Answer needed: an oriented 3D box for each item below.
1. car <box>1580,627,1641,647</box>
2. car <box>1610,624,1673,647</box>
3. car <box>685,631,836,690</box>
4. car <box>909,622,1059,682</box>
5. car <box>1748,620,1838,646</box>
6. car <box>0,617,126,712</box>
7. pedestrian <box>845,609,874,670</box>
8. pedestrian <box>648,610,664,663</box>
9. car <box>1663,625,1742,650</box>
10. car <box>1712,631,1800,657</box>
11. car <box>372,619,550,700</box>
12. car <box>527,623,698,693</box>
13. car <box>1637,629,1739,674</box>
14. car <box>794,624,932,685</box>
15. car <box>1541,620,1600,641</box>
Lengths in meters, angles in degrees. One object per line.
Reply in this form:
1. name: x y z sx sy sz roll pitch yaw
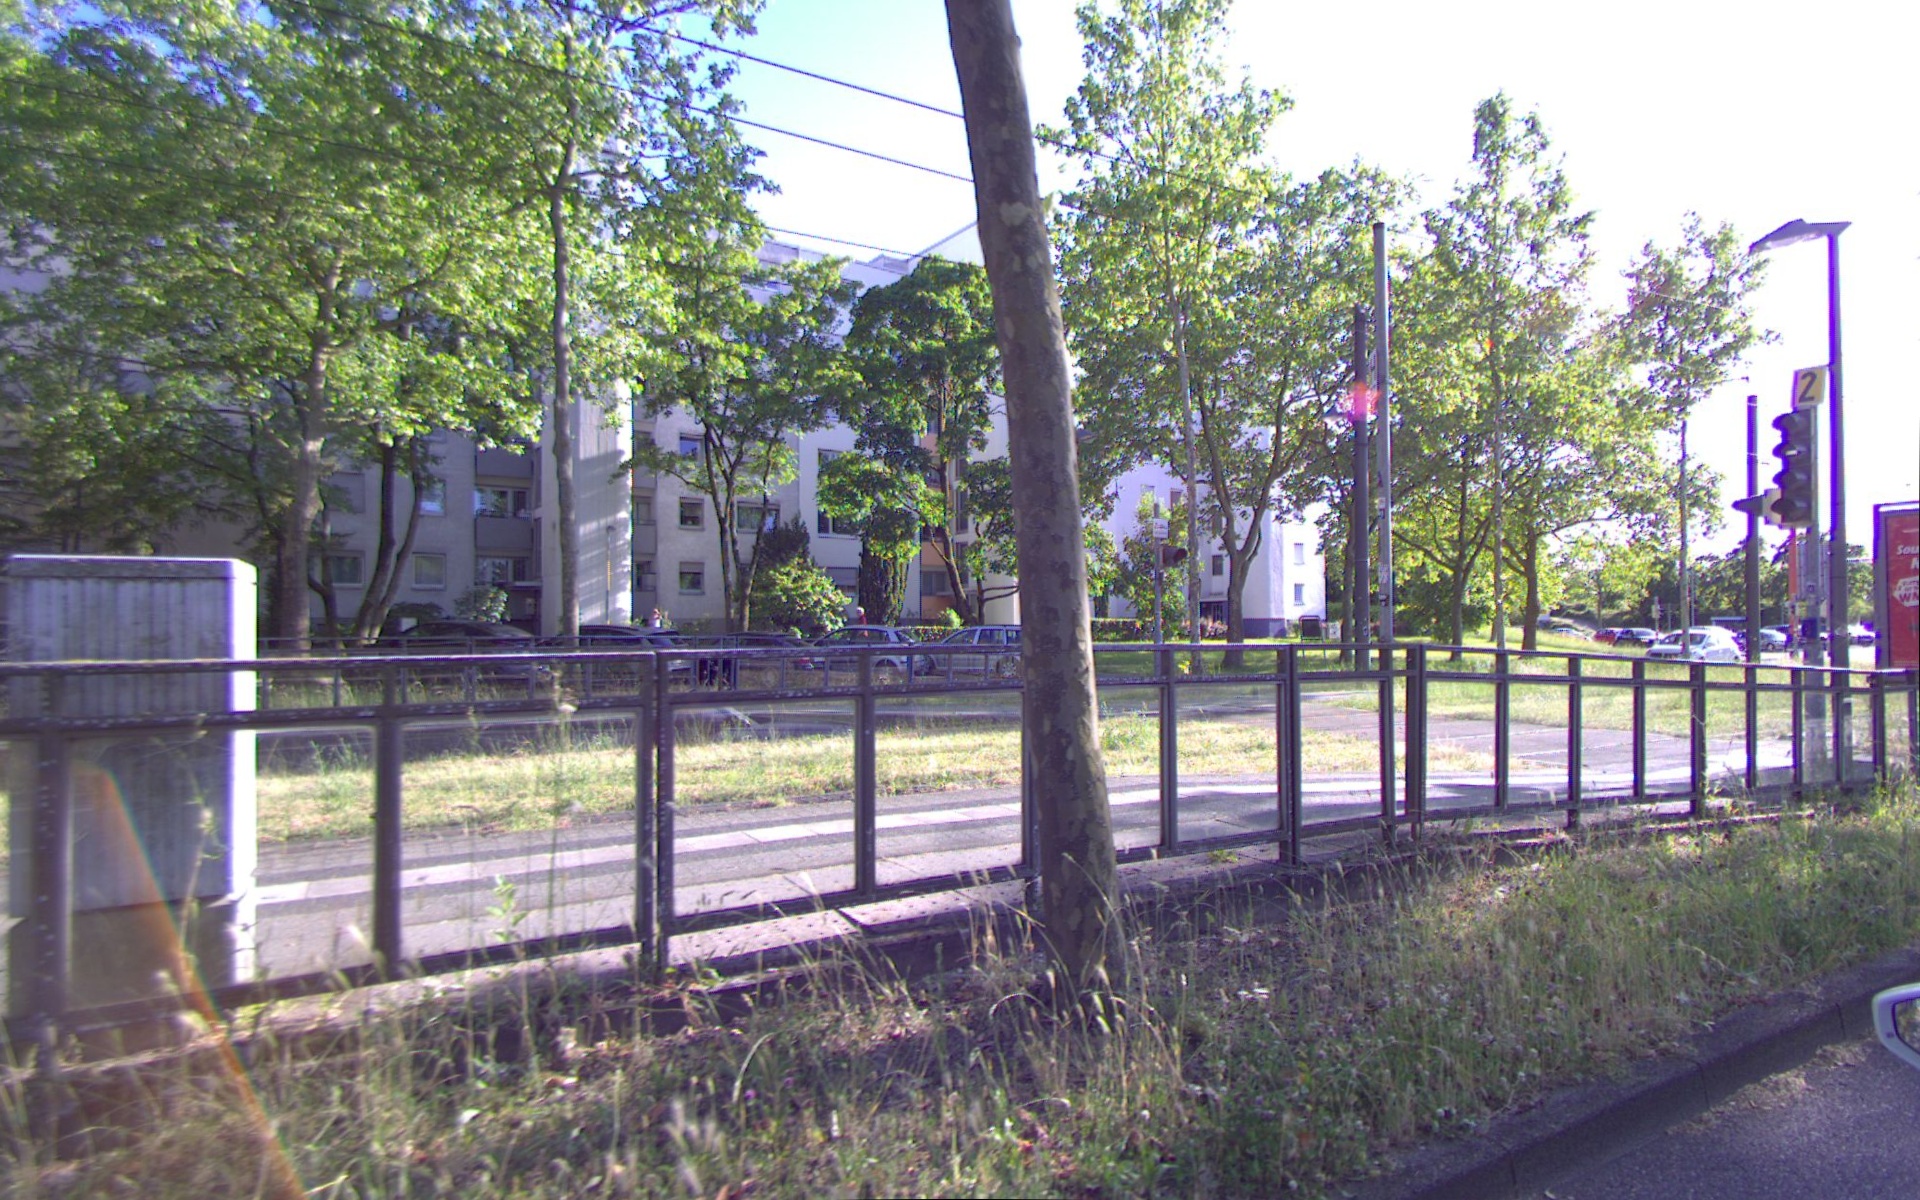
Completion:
1. car: 52.581 2.989 81.267 1.783 1.455 4.040 -2 -2 -11
2. car: 48.176 2.485 71.155 1.861 1.564 4.503 1 -1 8
3. car: -4.840 1.427 24.431 3.318 1.270 1.465 1 -1 20
4. car: 0.677 1.405 27.842 3.842 1.496 1.632 1 -1 17
5. car: 56.751 2.249 68.533 1.866 1.632 4.492 -2 -2 -11
6. car: -16.606 1.082 17.921 3.321 1.529 1.463 0 0 27
7. pedestrian: -3.012 1.190 30.234 0.709 1.816 0.473 1 0 -31
8. pedestrian: -10.641 1.271 35.188 0.446 1.815 0.315 1 -1 -37
9. car: 53.776 2.719 72.888 1.866 1.632 4.492 -2 -2 -11
10. car: 53.477 2.937 67.603 1.866 1.632 4.492 -2 -2 -11
11. car: -10.356 1.194 20.903 3.075 1.568 1.466 0 0 13
12. car: -7.812 1.260 22.659 3.316 1.445 1.541 1 -1 13
13. car: 25.801 1.792 35.579 3.675 1.469 1.623 1 -1 -31
14. car: -2.534 1.388 26.331 3.221 1.450 1.571 1 0 18
15. car: 53.466 2.665 88.072 1.866 1.632 4.491 -2 0 -11
